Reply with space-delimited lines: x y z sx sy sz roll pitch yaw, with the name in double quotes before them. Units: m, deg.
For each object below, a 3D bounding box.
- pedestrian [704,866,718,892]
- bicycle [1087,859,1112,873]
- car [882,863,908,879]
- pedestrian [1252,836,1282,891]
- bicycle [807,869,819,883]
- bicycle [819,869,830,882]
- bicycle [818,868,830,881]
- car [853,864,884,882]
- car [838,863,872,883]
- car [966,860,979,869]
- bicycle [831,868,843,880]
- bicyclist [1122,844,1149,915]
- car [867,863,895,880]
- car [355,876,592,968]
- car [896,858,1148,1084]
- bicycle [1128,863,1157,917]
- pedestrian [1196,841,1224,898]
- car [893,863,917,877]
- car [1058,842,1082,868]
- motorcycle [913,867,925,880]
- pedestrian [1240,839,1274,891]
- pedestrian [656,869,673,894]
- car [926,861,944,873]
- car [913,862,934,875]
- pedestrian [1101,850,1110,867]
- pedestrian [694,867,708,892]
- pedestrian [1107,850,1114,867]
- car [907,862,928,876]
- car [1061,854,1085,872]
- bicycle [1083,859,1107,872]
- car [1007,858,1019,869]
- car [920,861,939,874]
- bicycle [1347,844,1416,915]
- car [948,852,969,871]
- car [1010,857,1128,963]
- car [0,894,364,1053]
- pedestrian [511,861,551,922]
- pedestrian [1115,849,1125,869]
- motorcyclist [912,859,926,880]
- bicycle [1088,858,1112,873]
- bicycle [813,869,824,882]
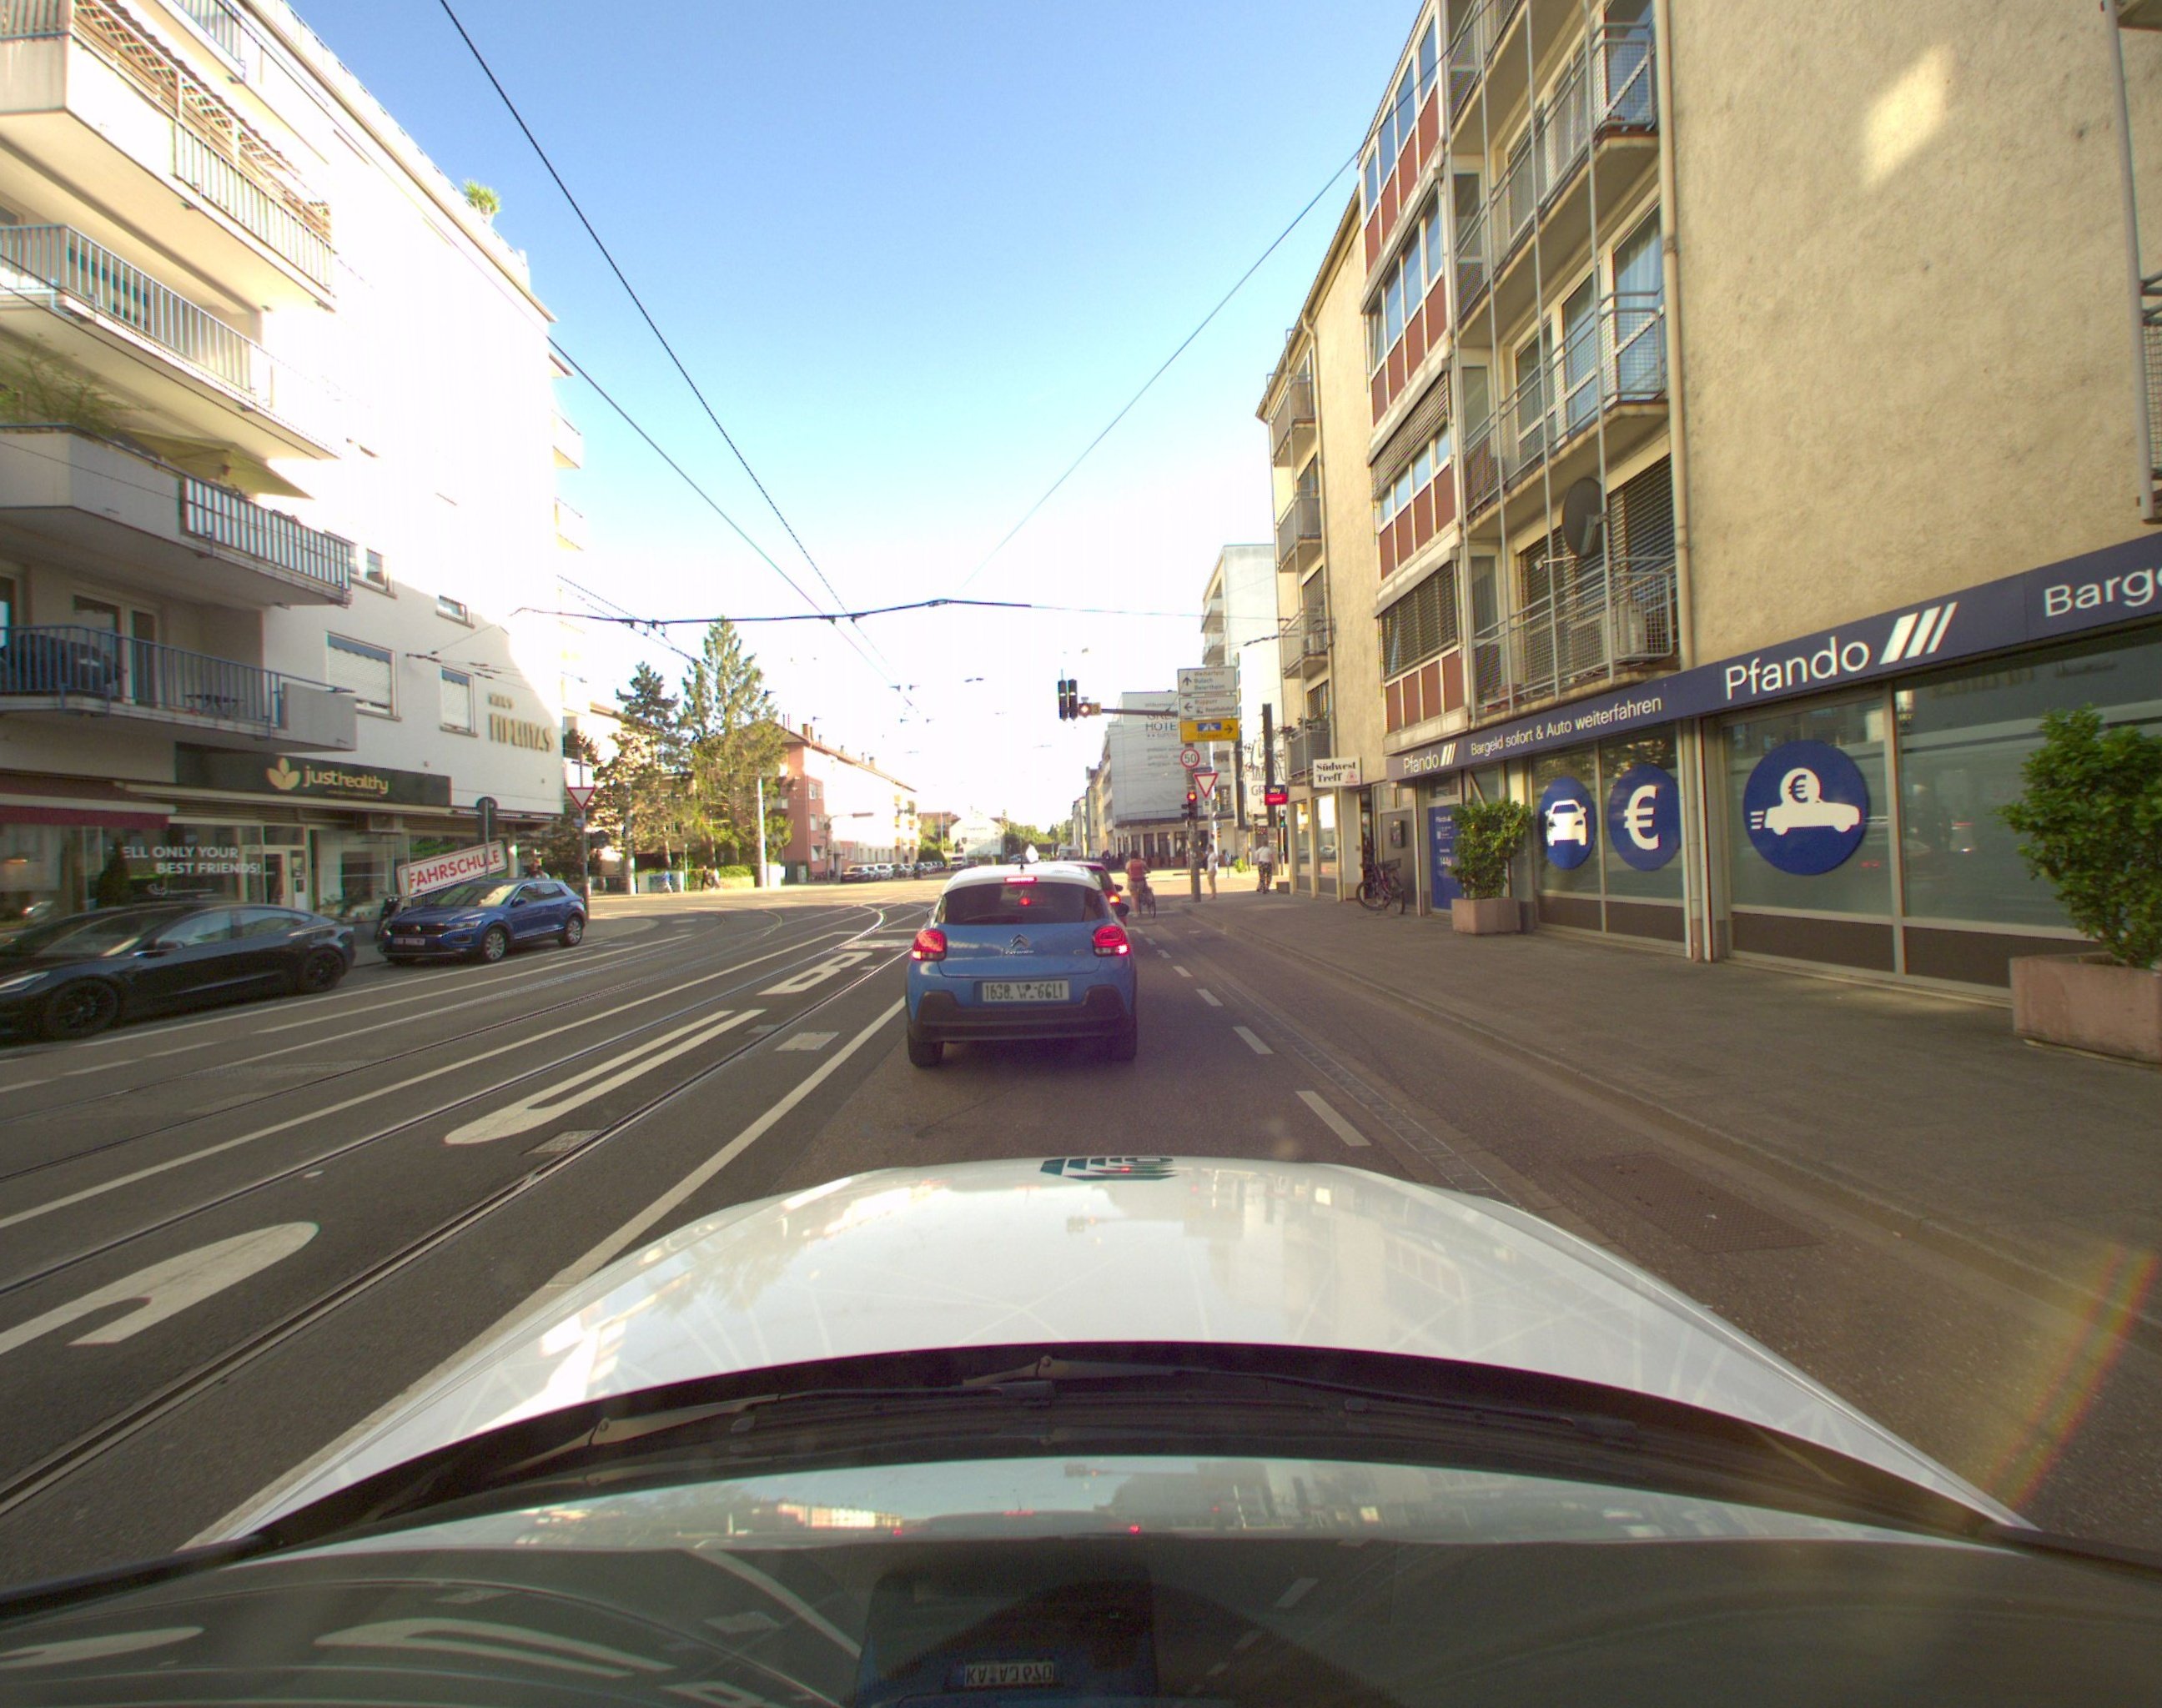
"pedestrian" -25.661 1.722 56.469 0.812 1.702 0.602 -2 0 -22
"bicycle" 1.531 0.962 67.231 1.901 1.064 0.641 -2 0 -6
"car" -19.724 1.744 86.517 1.947 1.519 3.995 -2 0 -4
"pedestrian" 5.697 0.291 24.968 0.731 1.647 0.757 -2 0 21
"bicycle" -22.374 1.798 68.066 0.640 1.082 1.905 -2 0 -9
"bicycle" -21.590 1.798 68.461 0.537 1.082 1.905 -2 0 -9
"bicycle" -23.043 1.847 73.095 0.536 1.082 1.908 -2 0 -4
"car" -19.565 1.722 75.232 1.947 1.519 4.040 -2 0 -4
"car" -19.284 1.605 69.609 1.947 1.519 3.995 -2 0 -4
"car" -19.332 1.823 145.233 1.947 1.519 3.995 -2 0 -4
"bicycle" -22.710 1.866 75.791 0.608 1.082 1.908 -2 0 -4
"bicyclist" 1.376 0.633 20.683 0.598 1.746 1.084 -2 0 2
"car" -19.554 1.689 79.844 1.947 1.519 3.995 -2 0 -4
"car" -11.872 1.246 16.314 1.720 1.505 4.113 0 0 -2
"car" -0.445 0.790 7.489 1.675 1.462 3.997 -1 0 -2
"bicycle" 1.539 0.887 20.716 0.611 1.264 1.911 -2 0 2
"pedestrian" 3.846 0.453 24.405 0.747 1.635 0.742 -2 0 7
"car" -19.975 1.795 92.585 1.947 1.519 3.995 -2 0 -4
"car" -1.033 0.088 73.437 2.074 2.269 5.647 -1 0 -2
"motorcycle" -13.478 1.601 67.750 0.751 0.976 2.092 -2 0 -7
"pedestrian" 5.804 0.362 26.875 0.705 1.647 0.732 -2 0 -34
"pedestrian" -28.877 1.880 56.489 0.810 1.702 0.677 -2 0 -15
"car" -20.719 1.858 115.672 1.947 1.519 3.995 -2 0 -4
"car" -20.091 1.806 104.028 1.947 1.519 3.995 -2 0 -4
"pedestrian" 2.109 0.397 70.369 0.520 1.420 0.550 -3 0 22
"pedestrian" -26.516 1.754 56.836 0.812 1.702 0.629 -2 0 -22
"pedestrian" 2.530 0.381 70.107 0.467 1.420 0.524 -2 0 -11
"car" -19.846 1.791 99.014 1.947 1.519 3.995 -2 0 -4
"car" -0.710 0.744 67.975 1.783 1.359 3.909 -2 0 -4
"bicycle" 1.166 0.954 68.433 1.901 1.064 0.641 -2 0 -6
"car" -14.261 1.986 171.400 2.333 2.039 5.044 -2 0 -4
"car" -20.292 1.779 109.316 1.947 1.519 3.995 -2 0 -4
"bicycle" 5.765 0.456 15.729 0.637 1.264 1.911 -2 0 2
"car" -18.121 1.109 120.565 2.489 2.712 5.828 -2 0 -5
"car" -0.220 0.810 13.697 1.675 1.462 3.997 -1 0 -2
"car" -11.977 1.332 10.411 1.720 1.403 4.486 0 0 -2
"pedestrian" -17.281 1.173 25.585 0.761 1.834 0.725 -3 0 28
"pedestrian" 3.365 0.422 70.211 0.558 1.647 0.532 -2 0 -42
"motorcyclist" -13.468 1.273 67.683 0.990 1.631 0.737 -2 0 -7
"bicycle" 1.522 0.932 65.925 1.901 1.064 0.641 -2 0 -6
"bicycle" -21.968 1.799 68.176 0.537 1.082 1.905 -2 0 -9
